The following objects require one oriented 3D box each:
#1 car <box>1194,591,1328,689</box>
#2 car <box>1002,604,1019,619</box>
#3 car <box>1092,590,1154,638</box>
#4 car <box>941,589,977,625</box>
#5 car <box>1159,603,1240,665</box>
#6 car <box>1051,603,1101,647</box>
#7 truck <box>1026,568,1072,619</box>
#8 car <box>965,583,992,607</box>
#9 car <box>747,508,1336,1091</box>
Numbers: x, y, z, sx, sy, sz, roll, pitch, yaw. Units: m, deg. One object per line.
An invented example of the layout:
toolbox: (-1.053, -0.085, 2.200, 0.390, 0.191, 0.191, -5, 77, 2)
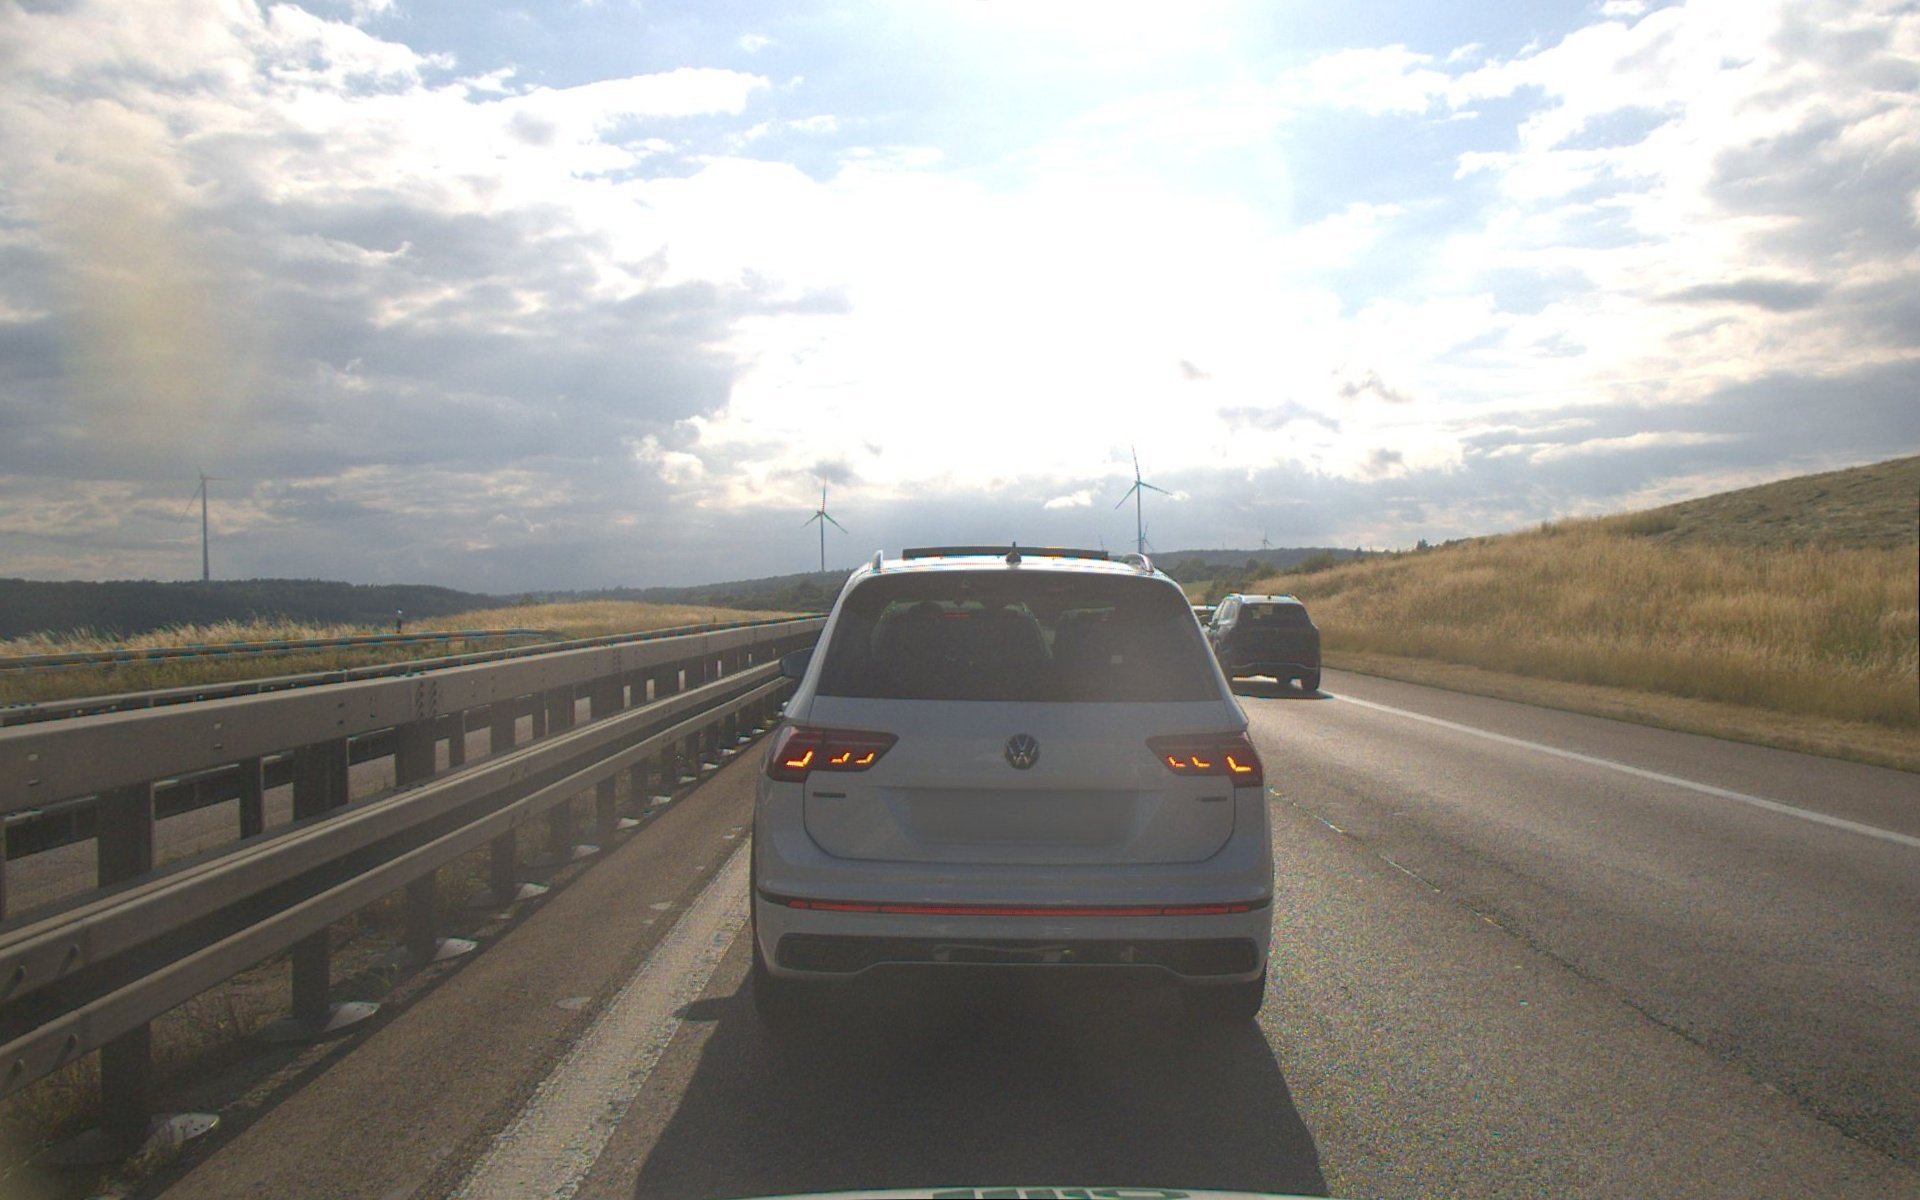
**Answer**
car: (5.484, 0.701, 30.622, 1.783, 1.629, 4.235, 2, 0, 2)
car: (5.483, 1.210, 178.783, 1.669, 1.573, 3.999, 0, 0, -1)
car: (5.535, 0.462, 56.514, 1.669, 1.573, 3.999, 0, 0, -1)
car: (-0.050, 0.345, 78.863, 1.669, 1.679, 3.999, 0, 0, -1)
car: (5.835, 0.810, 40.609, 1.572, 1.445, 3.673, 0, 0, 2)
car: (4.593, 0.974, 65.963, 1.669, 1.679, 3.999, 0, 0, -1)
truck: (6.593, -0.485, 124.129, 3.118, 3.656, 11.132, 0, 0, 1)
car: (1.223, -0.312, 110.059, 1.669, 1.573, 3.999, 0, 0, -1)
car: (0.219, 0.597, 6.864, 1.734, 1.705, 3.999, 0, 0, -1)
